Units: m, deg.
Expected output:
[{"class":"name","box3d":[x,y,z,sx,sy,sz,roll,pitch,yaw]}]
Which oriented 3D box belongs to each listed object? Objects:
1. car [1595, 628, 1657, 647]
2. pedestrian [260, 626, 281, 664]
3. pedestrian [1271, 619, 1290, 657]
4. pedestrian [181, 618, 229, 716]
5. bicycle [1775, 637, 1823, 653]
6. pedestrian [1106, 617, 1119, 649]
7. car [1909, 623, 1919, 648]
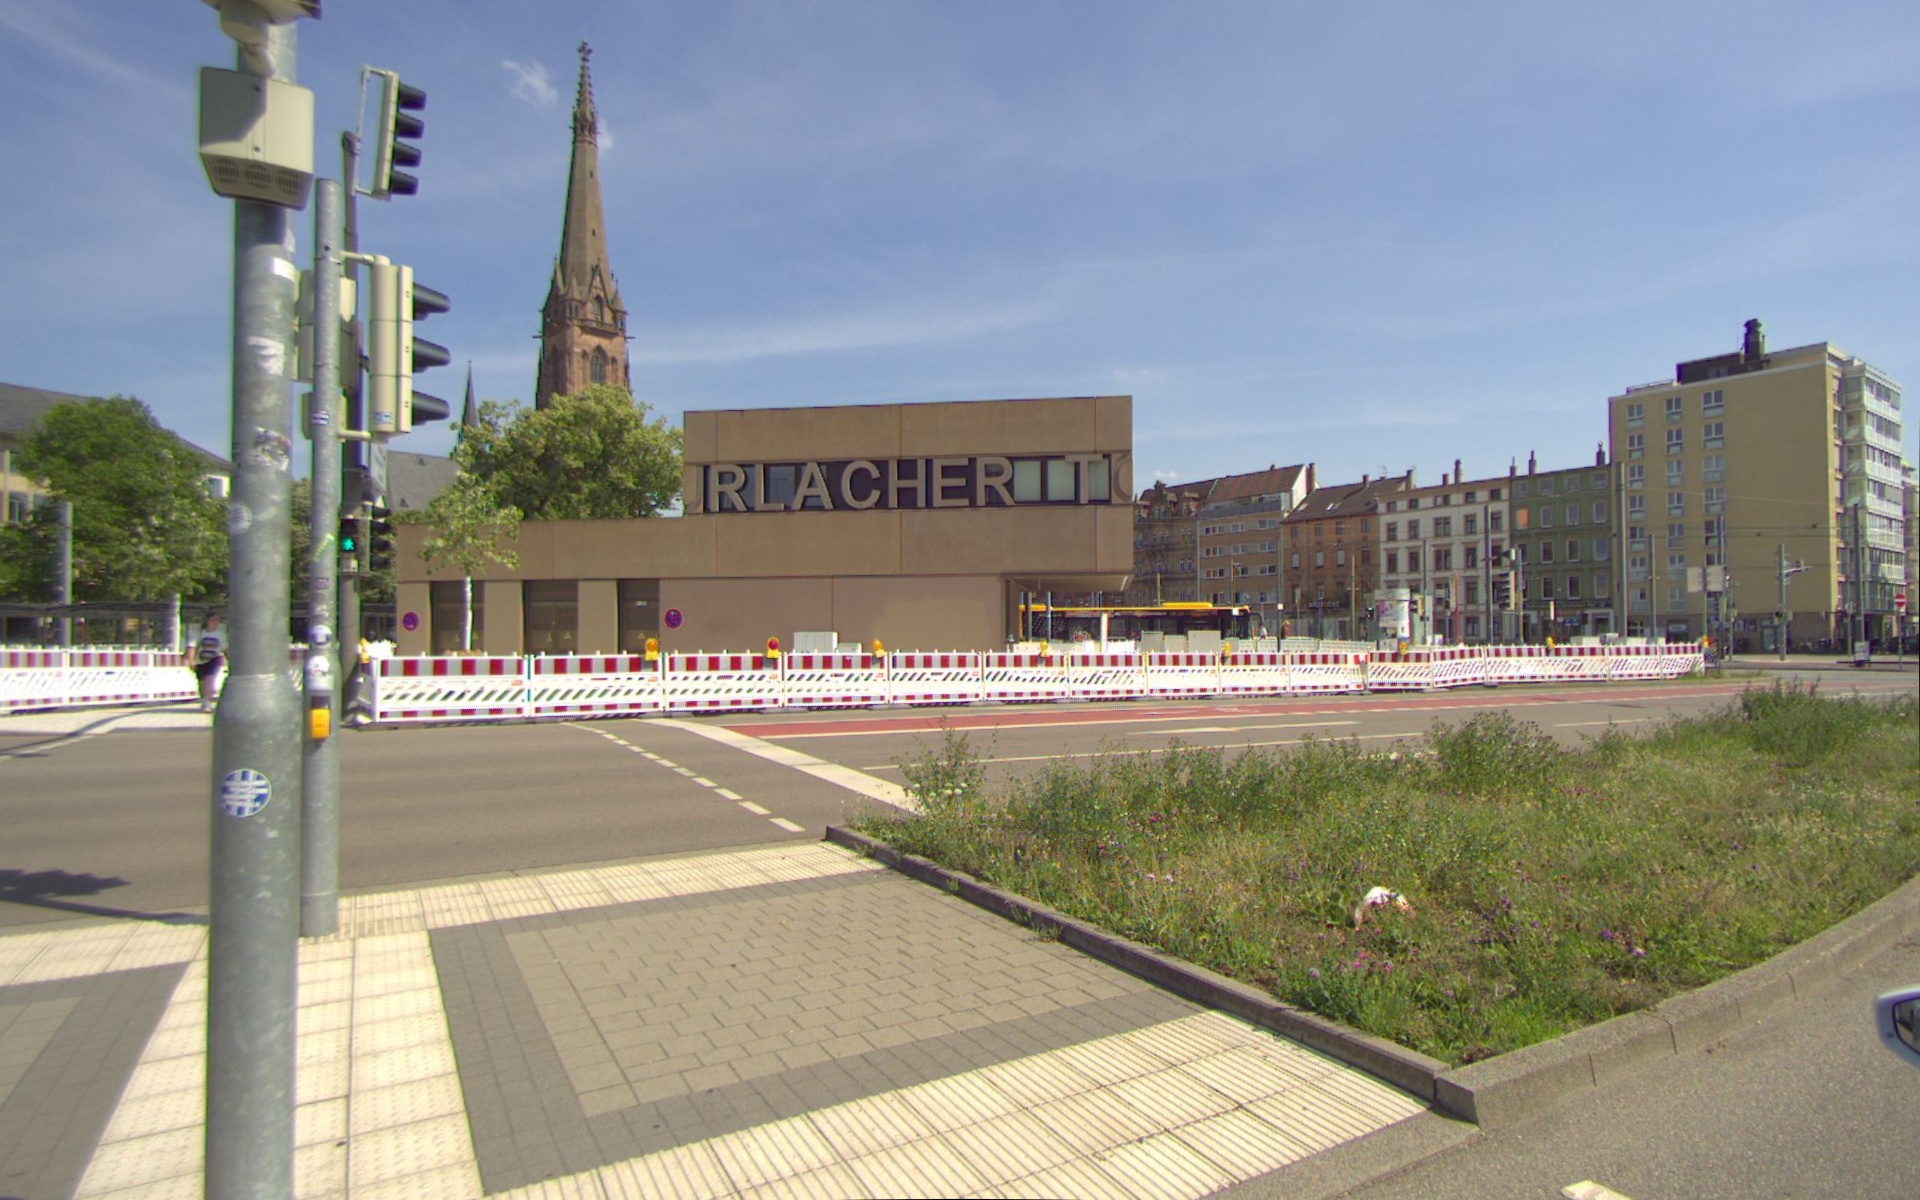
[{"class":"car","box3d":[54.657,3.108,82.496,3.920,1.530,1.801,0,-2,17]},{"class":"pedestrian","box3d":[-37.760,2.478,55.017,0.815,2.040,0.677,2,-3,-45]},{"class":"pedestrian","box3d":[14.443,1.716,45.219,0.637,1.683,0.650,0,-1,-2]},{"class":"pedestrian","box3d":[-12.433,1.090,16.552,0.551,1.585,0.420,1,-2,-30]},{"class":"bicycle","box3d":[66.815,3.594,80.015,0.985,1.238,2.791,-2,0,-40]},{"class":"pedestrian","box3d":[7.880,1.701,51.960,0.637,1.683,0.650,0,-1,7]},{"class":"car","box3d":[83.047,2.974,84.916,1.985,2.040,3.951,-2,0,-42]}]
